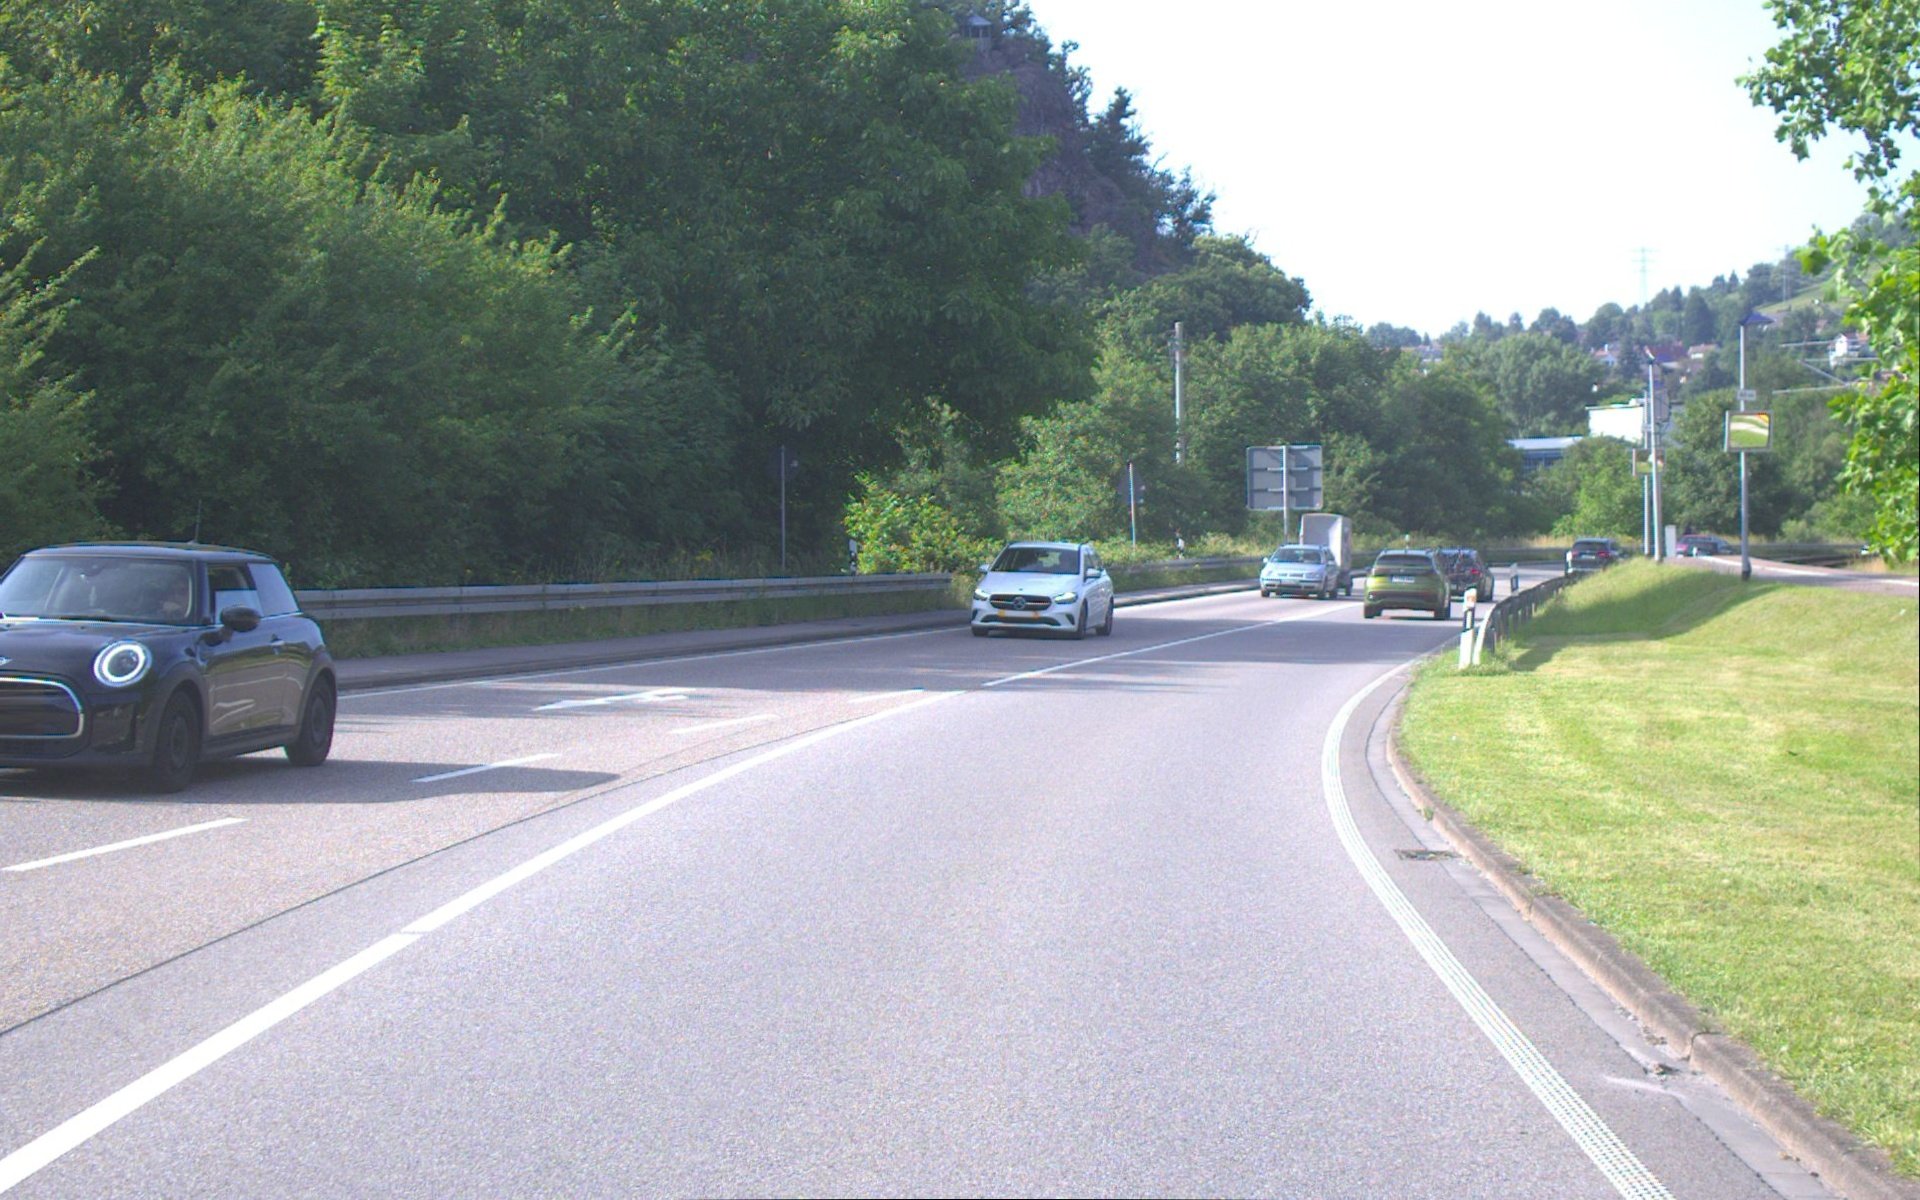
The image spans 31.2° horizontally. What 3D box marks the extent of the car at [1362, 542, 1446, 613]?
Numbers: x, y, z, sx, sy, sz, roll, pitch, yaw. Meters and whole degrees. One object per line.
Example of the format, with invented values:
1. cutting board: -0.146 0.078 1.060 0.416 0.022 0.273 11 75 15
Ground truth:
1. car: 9.622 -0.499 74.378 1.729 1.452 3.409 -1 1 8

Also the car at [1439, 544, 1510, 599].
1. car: 14.318 -0.794 95.527 1.841 1.454 3.711 -1 1 10

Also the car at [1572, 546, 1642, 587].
1. car: 24.161 -1.273 128.284 1.809 1.448 3.643 -1 1 23

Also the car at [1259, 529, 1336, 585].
1. car: 9.209 -1.195 93.479 1.649 1.431 4.604 2 2 11

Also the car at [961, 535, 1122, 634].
1. car: 1.369 -0.291 55.906 1.946 1.481 4.583 2 1 10

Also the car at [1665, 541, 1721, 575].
1. car: 32.053 -1.828 150.315 1.810 1.403 3.769 -1 1 21

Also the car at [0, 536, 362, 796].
1. car: -5.061 0.322 20.975 1.694 1.397 4.201 1 1 6

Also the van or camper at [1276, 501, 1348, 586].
1. van or camper: 10.032 -1.620 97.741 1.603 2.320 4.058 2 2 11
